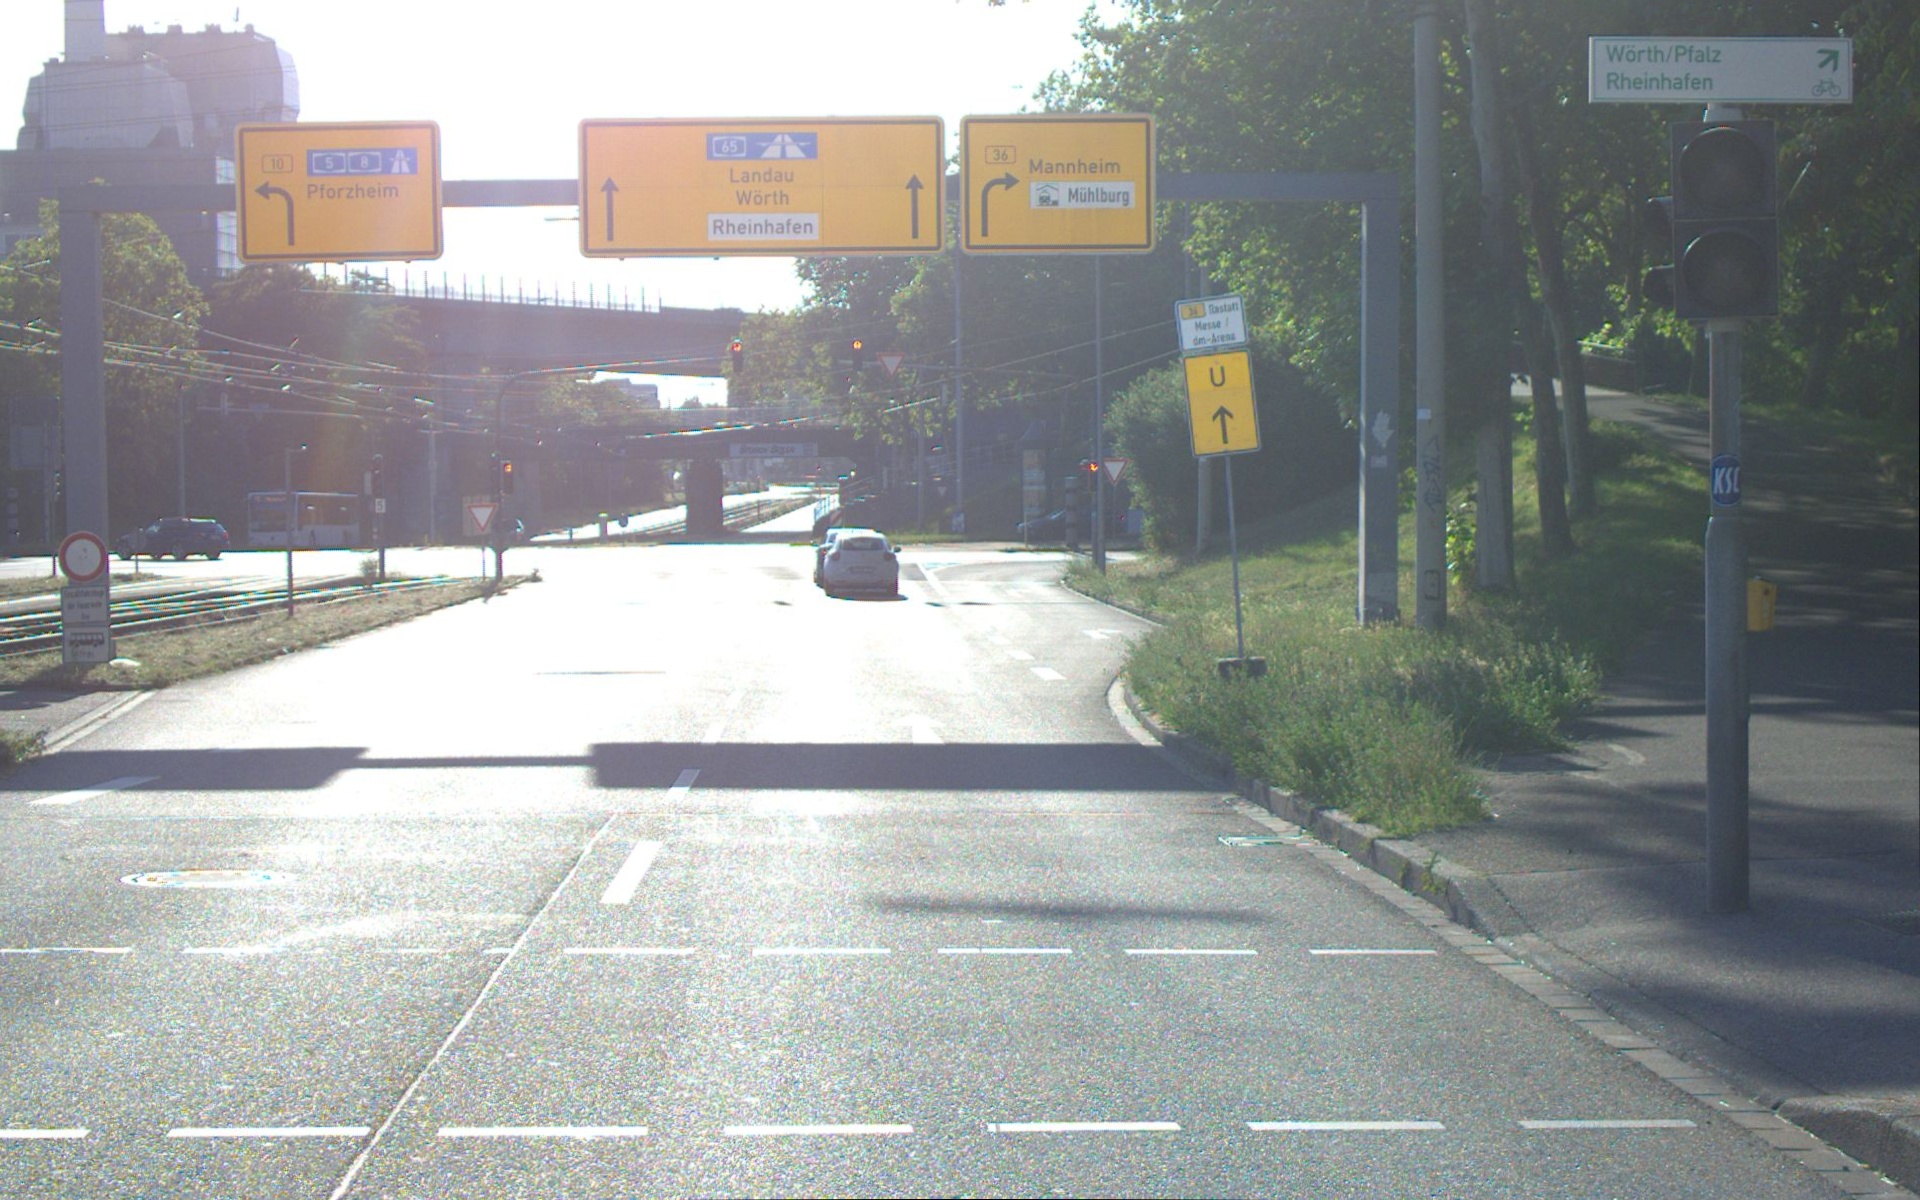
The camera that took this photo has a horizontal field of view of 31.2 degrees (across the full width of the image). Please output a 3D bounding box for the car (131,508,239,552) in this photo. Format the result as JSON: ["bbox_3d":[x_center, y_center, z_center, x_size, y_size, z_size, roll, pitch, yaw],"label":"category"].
[{"bbox_3d":[-27.177,-2.480,120.547,3.997,1.500,1.738,2,3,44],"label":"car"}]

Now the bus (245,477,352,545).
[{"bbox_3d":[-32.631,-4.347,170.087,2.543,3.119,12.917,0,0,1],"label":"bus"}]

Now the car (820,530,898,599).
[{"bbox_3d":[-2.389,-0.855,80.672,1.736,1.500,4.001,0,2,-3],"label":"car"}]

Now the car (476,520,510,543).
[{"bbox_3d":[-29.520,-4.335,217.328,1.606,1.414,4.008,1,2,0],"label":"car"}]
